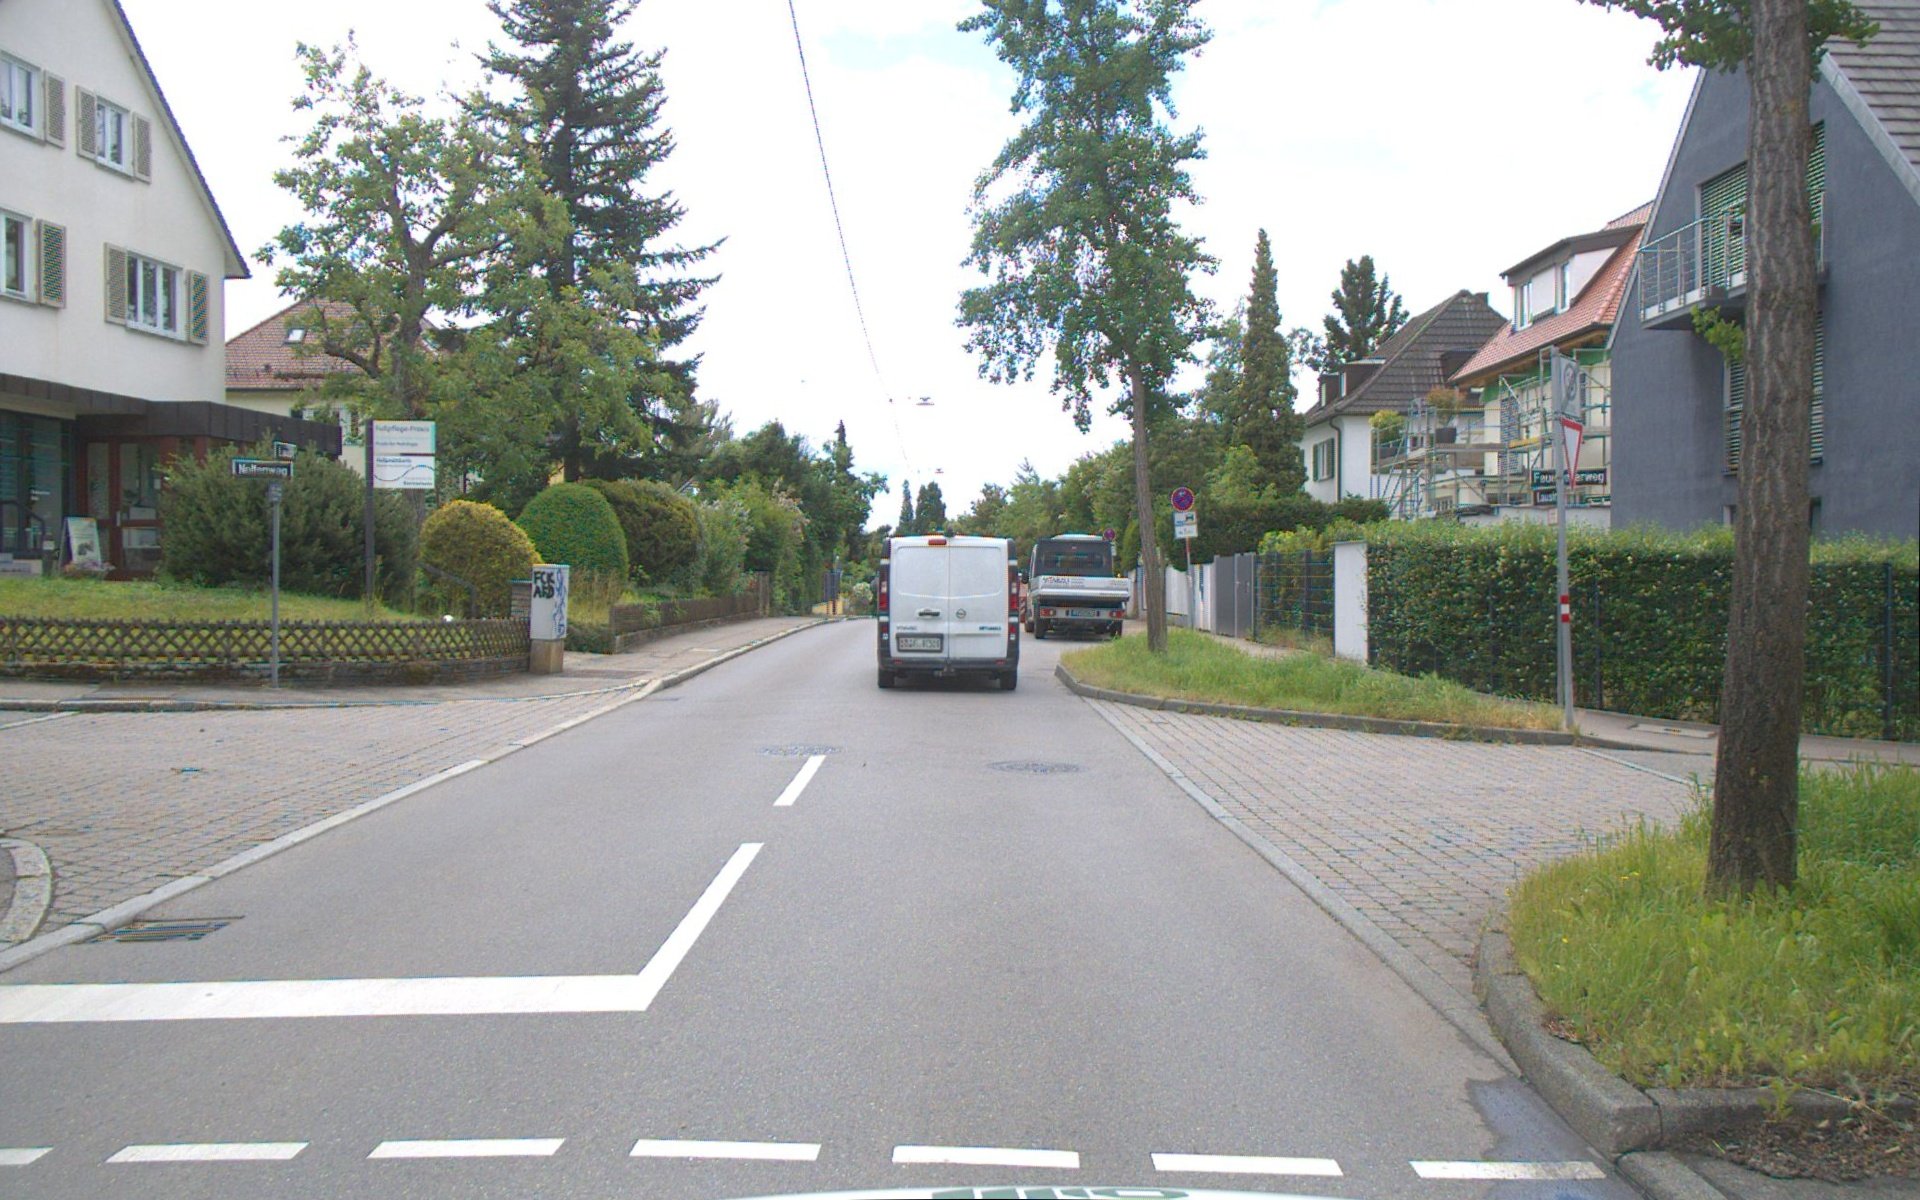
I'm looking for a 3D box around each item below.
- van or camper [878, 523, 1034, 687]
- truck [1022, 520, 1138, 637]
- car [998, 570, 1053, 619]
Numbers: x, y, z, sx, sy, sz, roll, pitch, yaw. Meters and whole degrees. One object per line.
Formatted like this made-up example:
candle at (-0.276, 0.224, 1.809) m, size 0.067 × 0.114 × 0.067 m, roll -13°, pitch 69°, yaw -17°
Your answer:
van or camper at (-0.091, 0.083, 22.798) m, size 1.900 × 1.988 × 4.764 m, roll 1°, pitch -1°, yaw -1°
truck at (2.748, -0.515, 39.668) m, size 2.143 × 2.515 × 7.430 m, roll 1°, pitch 1°, yaw -1°
car at (2.358, -0.193, 60.263) m, size 1.709 × 1.704 × 4.184 m, roll -1°, pitch 0°, yaw -1°
